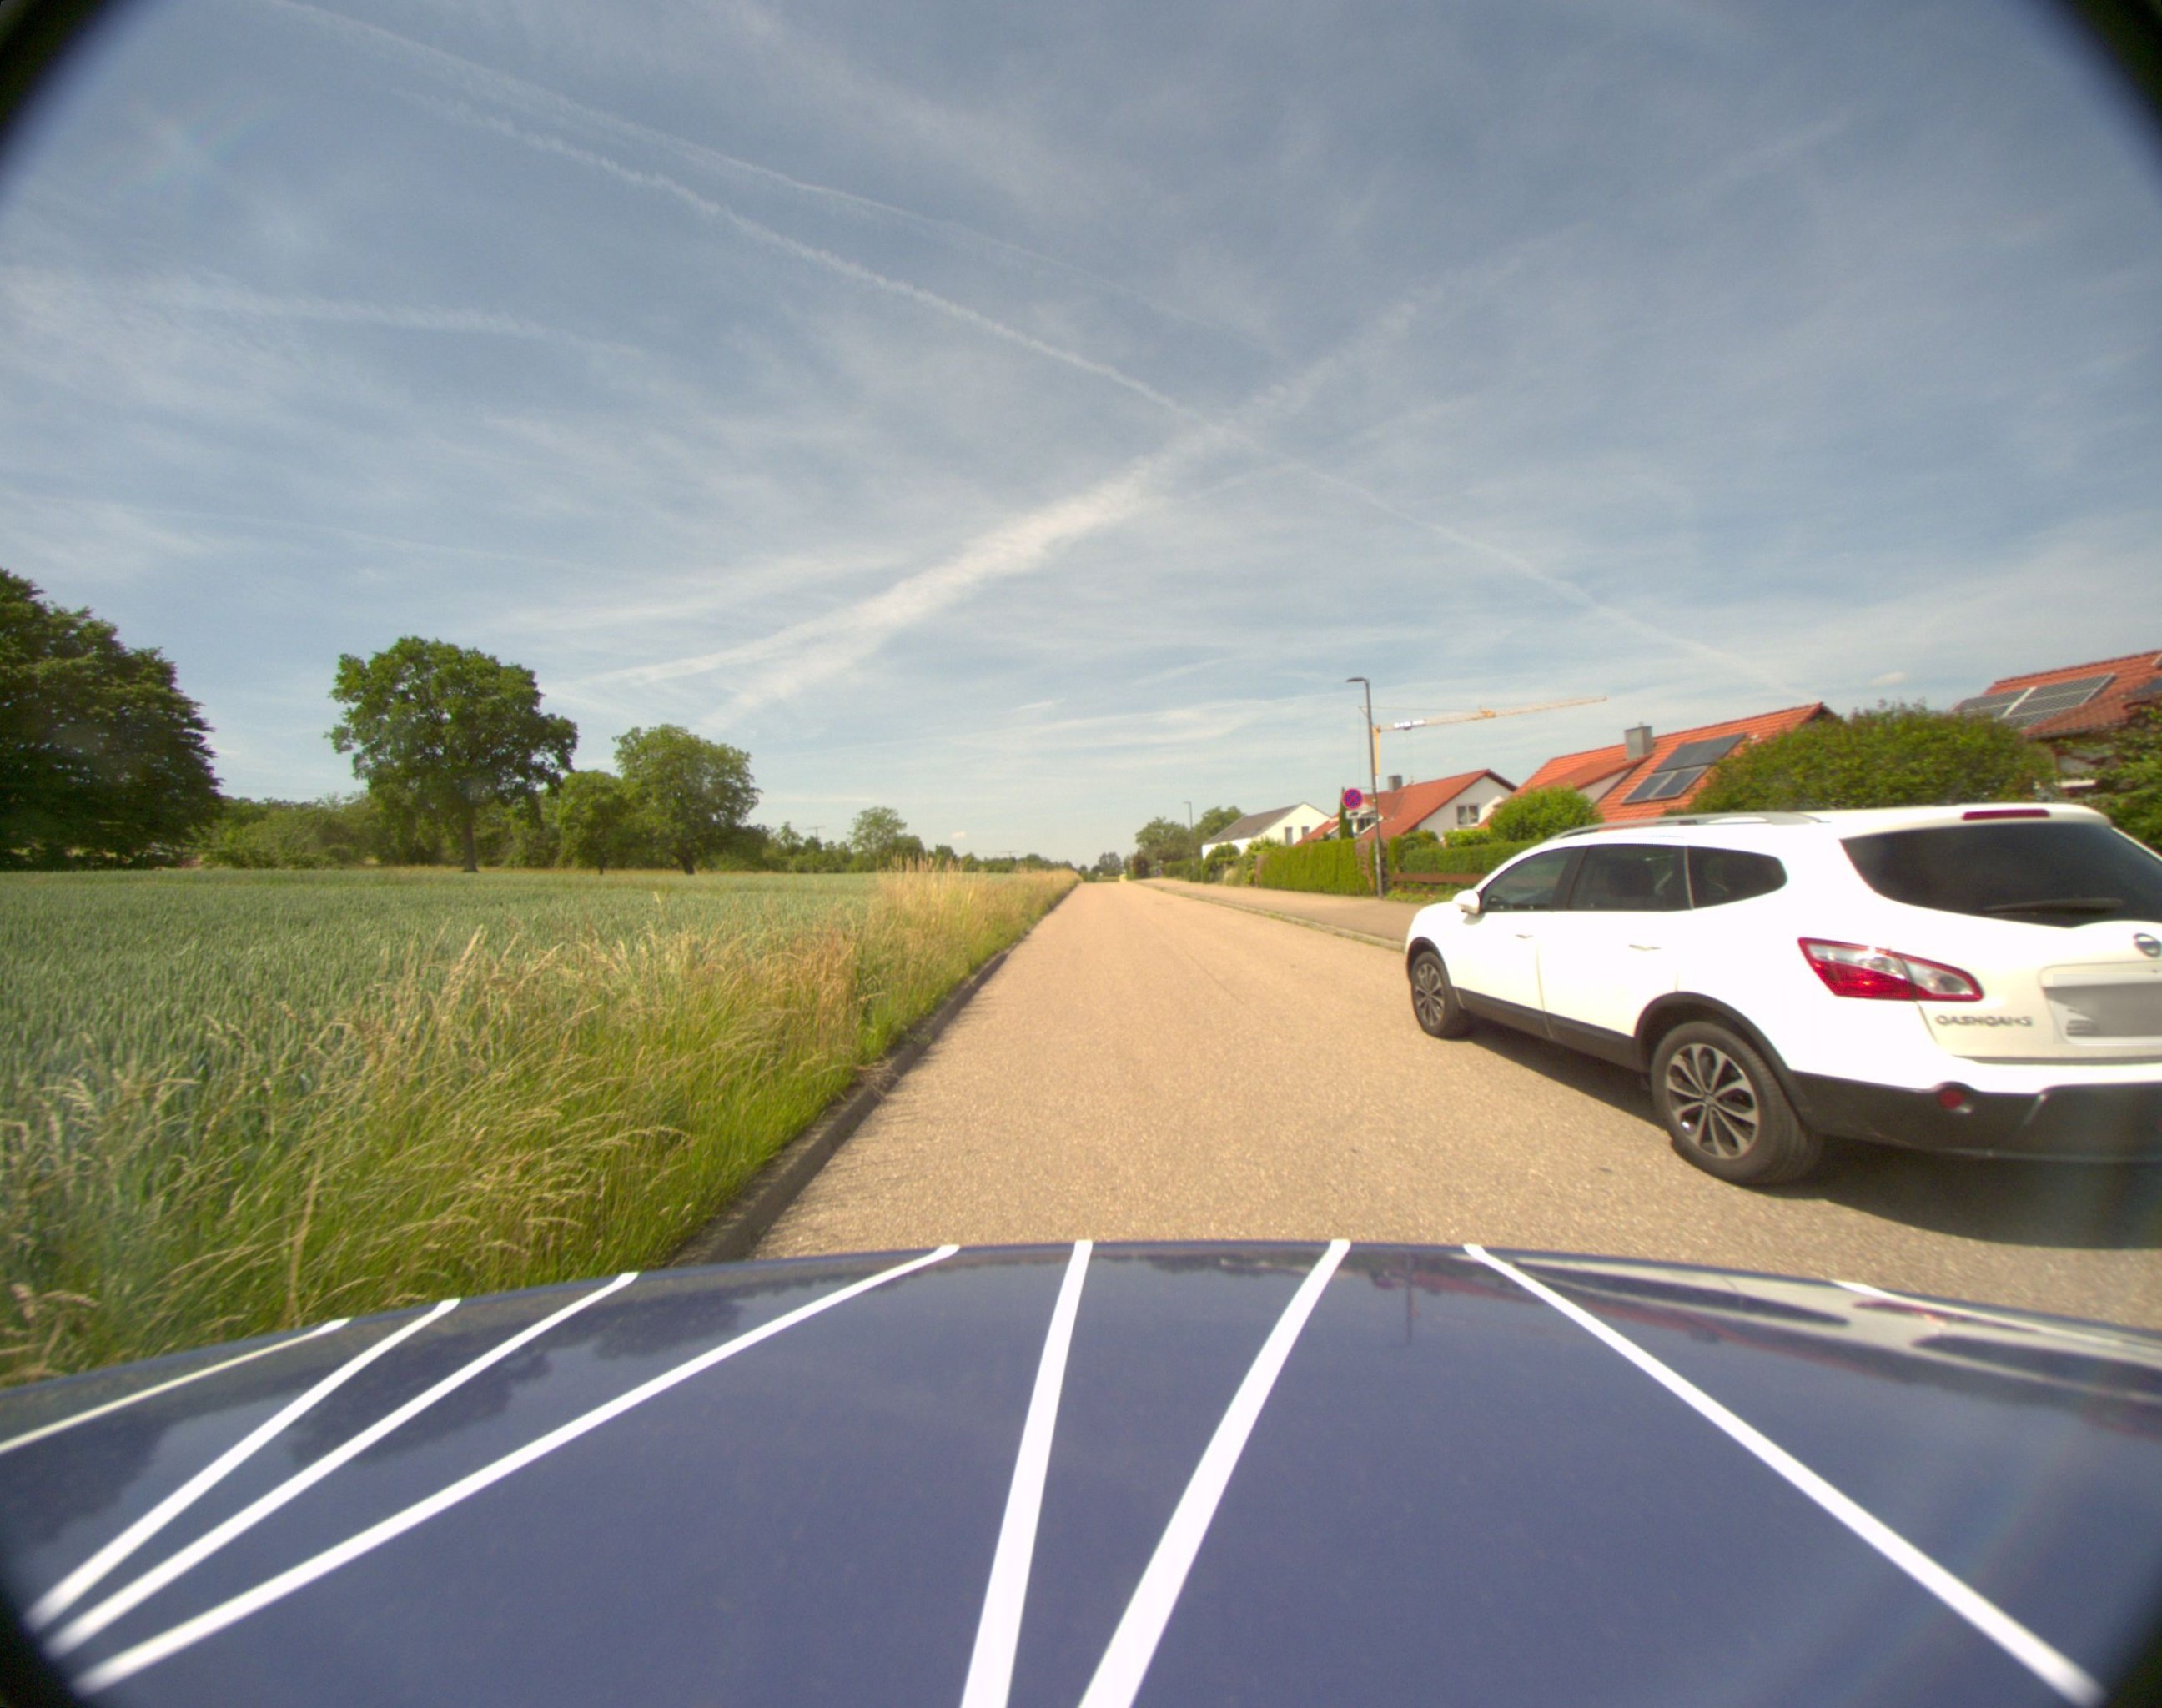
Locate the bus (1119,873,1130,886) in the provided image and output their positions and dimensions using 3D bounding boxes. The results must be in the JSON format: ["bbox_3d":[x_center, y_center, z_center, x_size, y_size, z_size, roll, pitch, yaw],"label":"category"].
[{"bbox_3d":[13.155,7.536,228.134,3.066,3.556,9.458,-2,0,4],"label":"bus"}]

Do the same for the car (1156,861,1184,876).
[{"bbox_3d":[12.678,2.050,108.564,3.885,1.801,1.801,-4,-1,5],"label":"car"}]

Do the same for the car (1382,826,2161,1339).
[{"bbox_3d":[3.596,0.735,4.636,1.738,1.623,4.352,-2,0,0],"label":"car"}]

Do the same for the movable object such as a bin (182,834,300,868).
[{"bbox_3d":[-64.480,-0.220,58.422,6.569,2.355,2.446,2,0,3],"label":"movable object such as a bin"}]

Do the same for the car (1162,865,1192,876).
[{"bbox_3d":[12.637,2.178,100.146,3.885,1.313,1.801,-3,-1,5],"label":"car"}]
